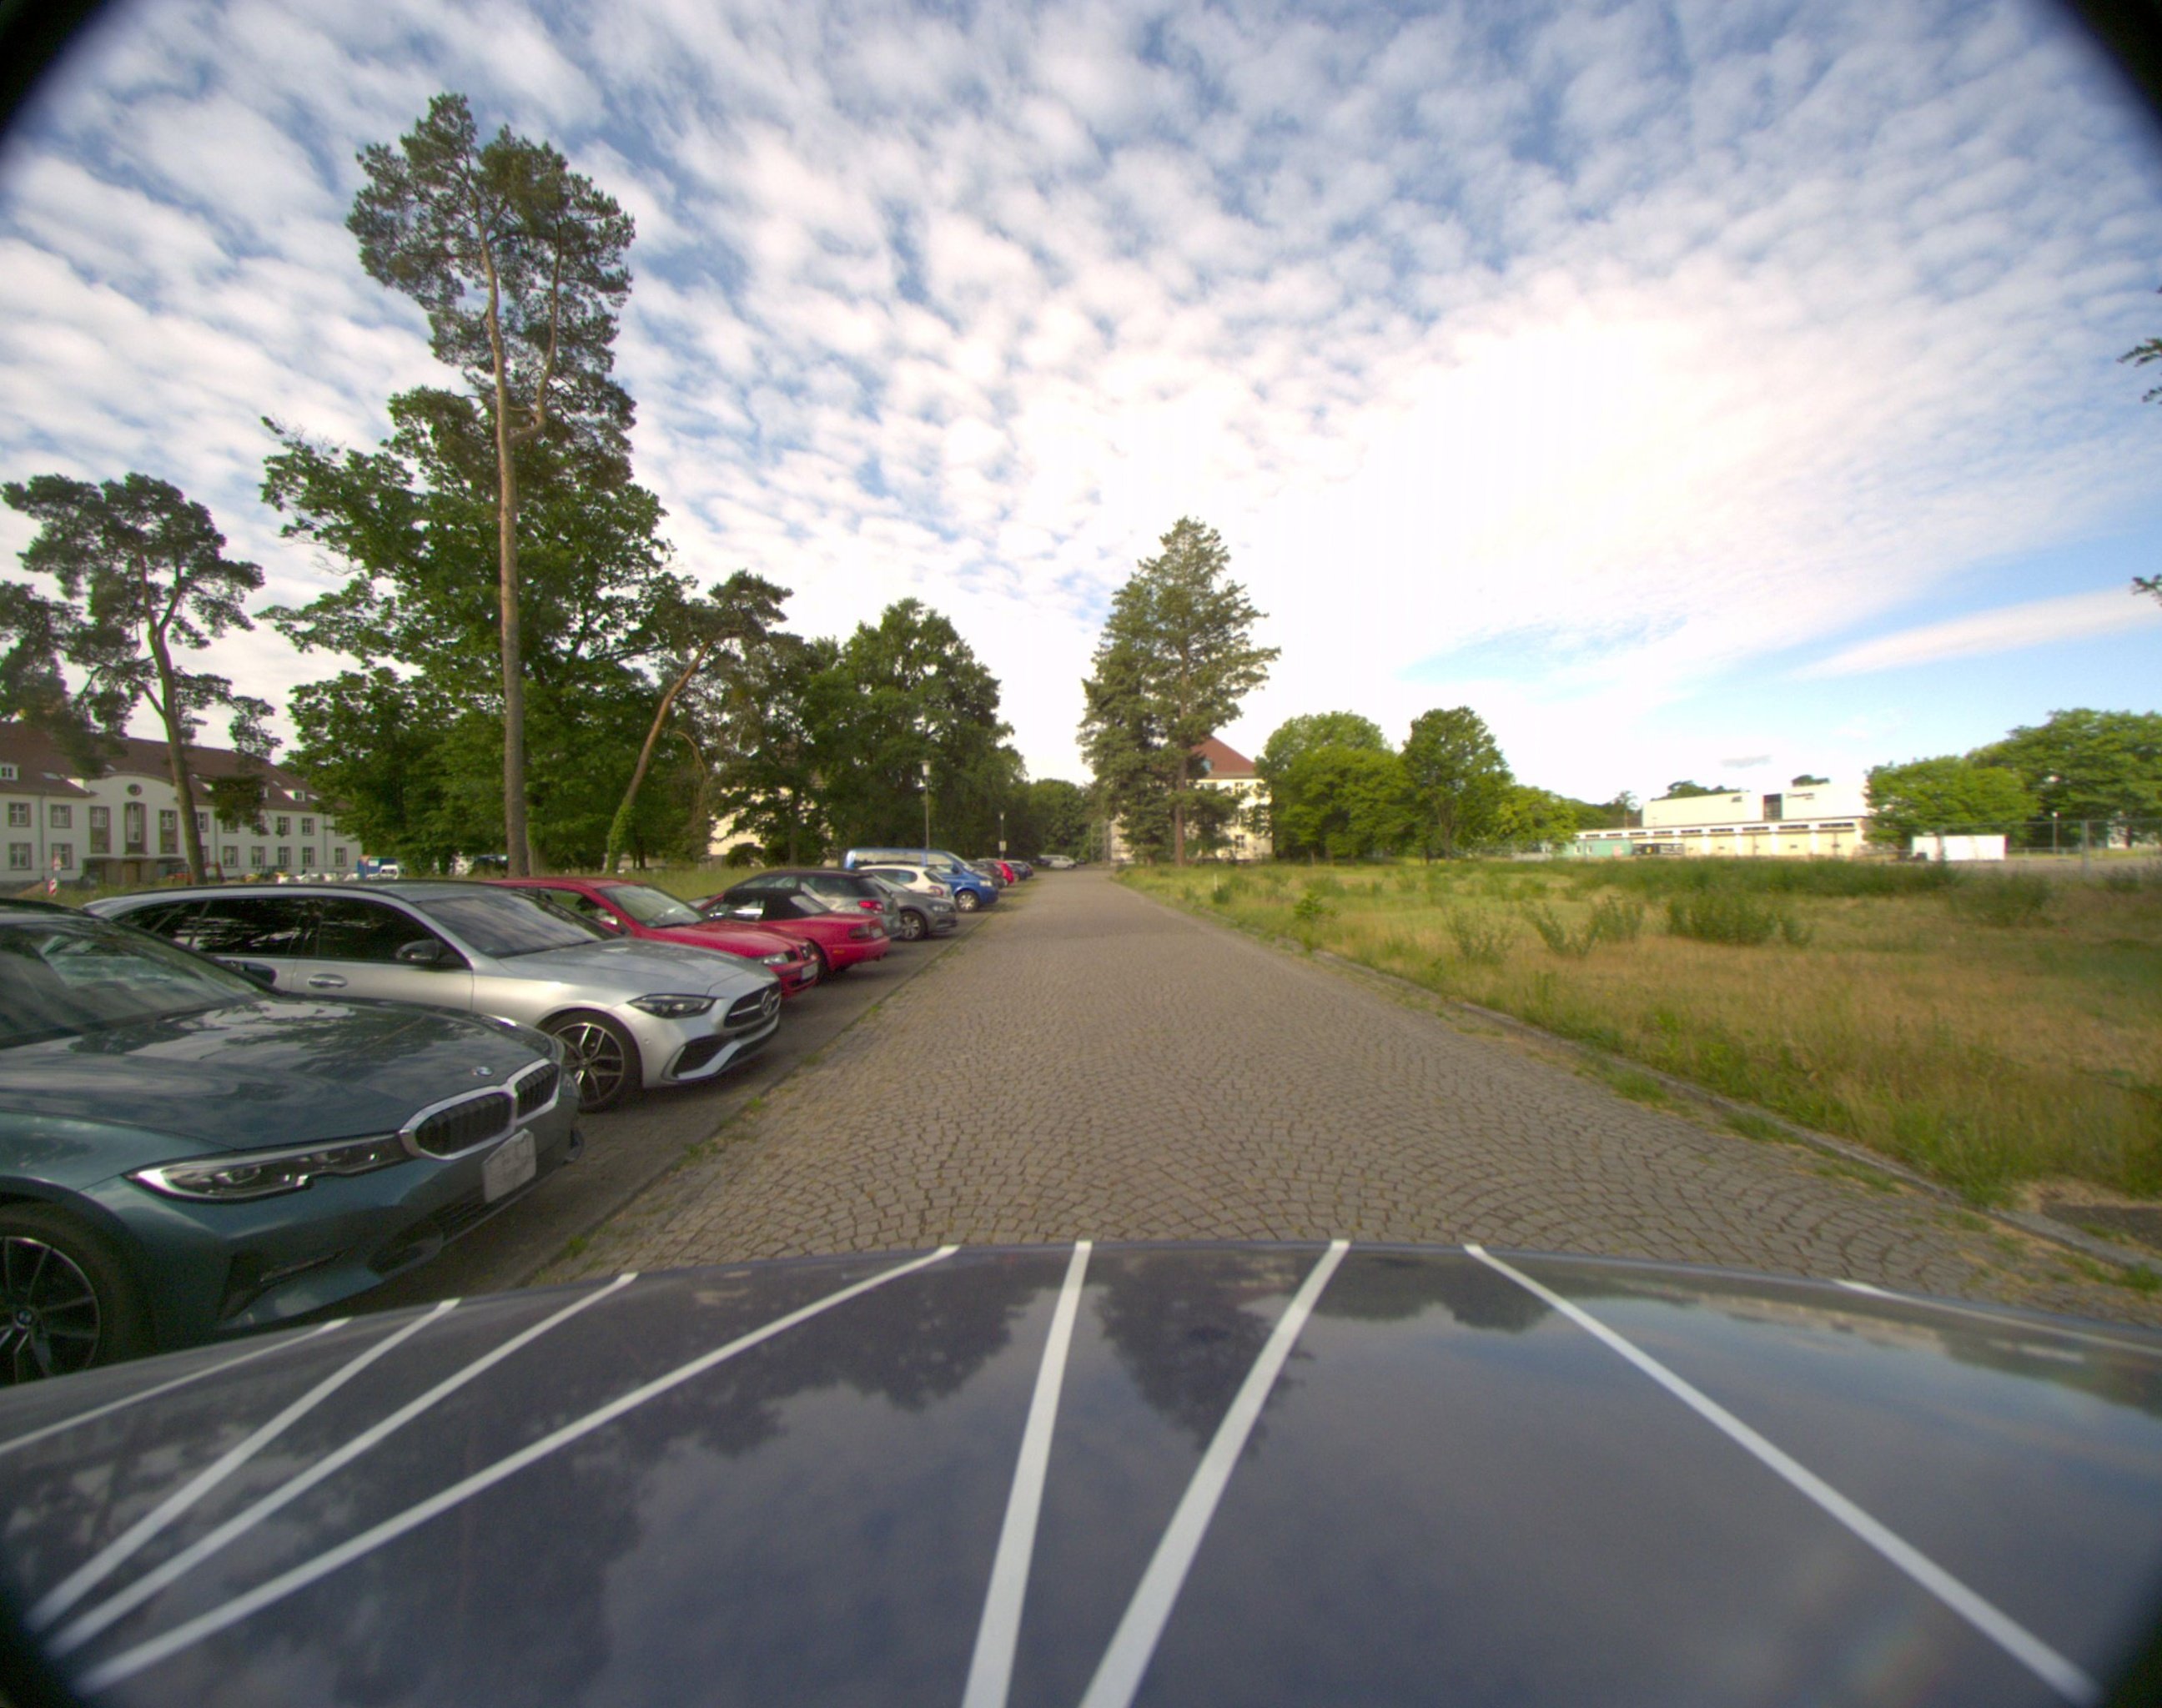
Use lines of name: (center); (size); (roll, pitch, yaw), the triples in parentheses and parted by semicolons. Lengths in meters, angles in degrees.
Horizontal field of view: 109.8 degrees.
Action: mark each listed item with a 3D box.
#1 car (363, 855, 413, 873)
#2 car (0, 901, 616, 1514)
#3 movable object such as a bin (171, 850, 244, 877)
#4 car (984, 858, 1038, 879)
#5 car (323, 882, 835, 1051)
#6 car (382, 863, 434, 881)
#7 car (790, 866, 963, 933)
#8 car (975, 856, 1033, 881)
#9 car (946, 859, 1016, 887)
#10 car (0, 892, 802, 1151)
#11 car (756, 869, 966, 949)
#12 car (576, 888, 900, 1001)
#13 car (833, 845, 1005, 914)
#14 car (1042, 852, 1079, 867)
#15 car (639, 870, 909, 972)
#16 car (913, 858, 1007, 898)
car: (-83.425, 1.192, 91.573); (2.217, 2.002, 4.001); (-1, 0, 4)
car: (-4.551, 1.009, 2.760); (4.526, 1.474, 1.807); (-1, 0, -4)
movable object such as a bin: (-91.920, 0.982, 80.062); (2.000, 2.752, 5.201); (-1, 0, -6)
car: (-5.331, 1.071, 58.170); (3.836, 1.520, 1.674); (-1, 0, 3)
car: (-4.905, 1.069, 7.873); (4.118, 1.415, 1.719); (-1, 0, -1)
car: (-69.758, 1.834, 78.845); (1.847, 1.674, 3.937); (1, 0, 2)
car: (-4.901, 1.084, 18.536); (3.762, 1.490, 1.581); (-1, 0, 1)
car: (-5.364, 1.008, 53.396); (3.836, 1.609, 1.581); (-1, 0, 3)
car: (-5.605, 1.053, 42.989); (3.839, 1.516, 1.580); (-1, 0, -5)
car: (-4.506, 1.044, 5.464); (4.337, 1.420, 1.766); (0, 0, -2)
car: (-4.402, 1.087, 15.597); (3.781, 1.457, 1.643); (-1, 0, 1)
car: (-4.397, 1.143, 10.116); (3.555, 1.279, 1.608); (-1, -1, 0)
car: (-4.983, 0.767, 23.959); (4.954, 2.011, 2.060); (1, 0, 0)
car: (-2.941, 0.763, 106.909); (5.130, 2.002, 1.804); (-1, 0, -3)
car: (-4.987, 1.067, 12.731); (3.838, 1.494, 1.604); (-1, 0, -1)
car: (-5.123, 1.007, 32.602); (3.839, 1.592, 1.580); (-1, 0, -5)
